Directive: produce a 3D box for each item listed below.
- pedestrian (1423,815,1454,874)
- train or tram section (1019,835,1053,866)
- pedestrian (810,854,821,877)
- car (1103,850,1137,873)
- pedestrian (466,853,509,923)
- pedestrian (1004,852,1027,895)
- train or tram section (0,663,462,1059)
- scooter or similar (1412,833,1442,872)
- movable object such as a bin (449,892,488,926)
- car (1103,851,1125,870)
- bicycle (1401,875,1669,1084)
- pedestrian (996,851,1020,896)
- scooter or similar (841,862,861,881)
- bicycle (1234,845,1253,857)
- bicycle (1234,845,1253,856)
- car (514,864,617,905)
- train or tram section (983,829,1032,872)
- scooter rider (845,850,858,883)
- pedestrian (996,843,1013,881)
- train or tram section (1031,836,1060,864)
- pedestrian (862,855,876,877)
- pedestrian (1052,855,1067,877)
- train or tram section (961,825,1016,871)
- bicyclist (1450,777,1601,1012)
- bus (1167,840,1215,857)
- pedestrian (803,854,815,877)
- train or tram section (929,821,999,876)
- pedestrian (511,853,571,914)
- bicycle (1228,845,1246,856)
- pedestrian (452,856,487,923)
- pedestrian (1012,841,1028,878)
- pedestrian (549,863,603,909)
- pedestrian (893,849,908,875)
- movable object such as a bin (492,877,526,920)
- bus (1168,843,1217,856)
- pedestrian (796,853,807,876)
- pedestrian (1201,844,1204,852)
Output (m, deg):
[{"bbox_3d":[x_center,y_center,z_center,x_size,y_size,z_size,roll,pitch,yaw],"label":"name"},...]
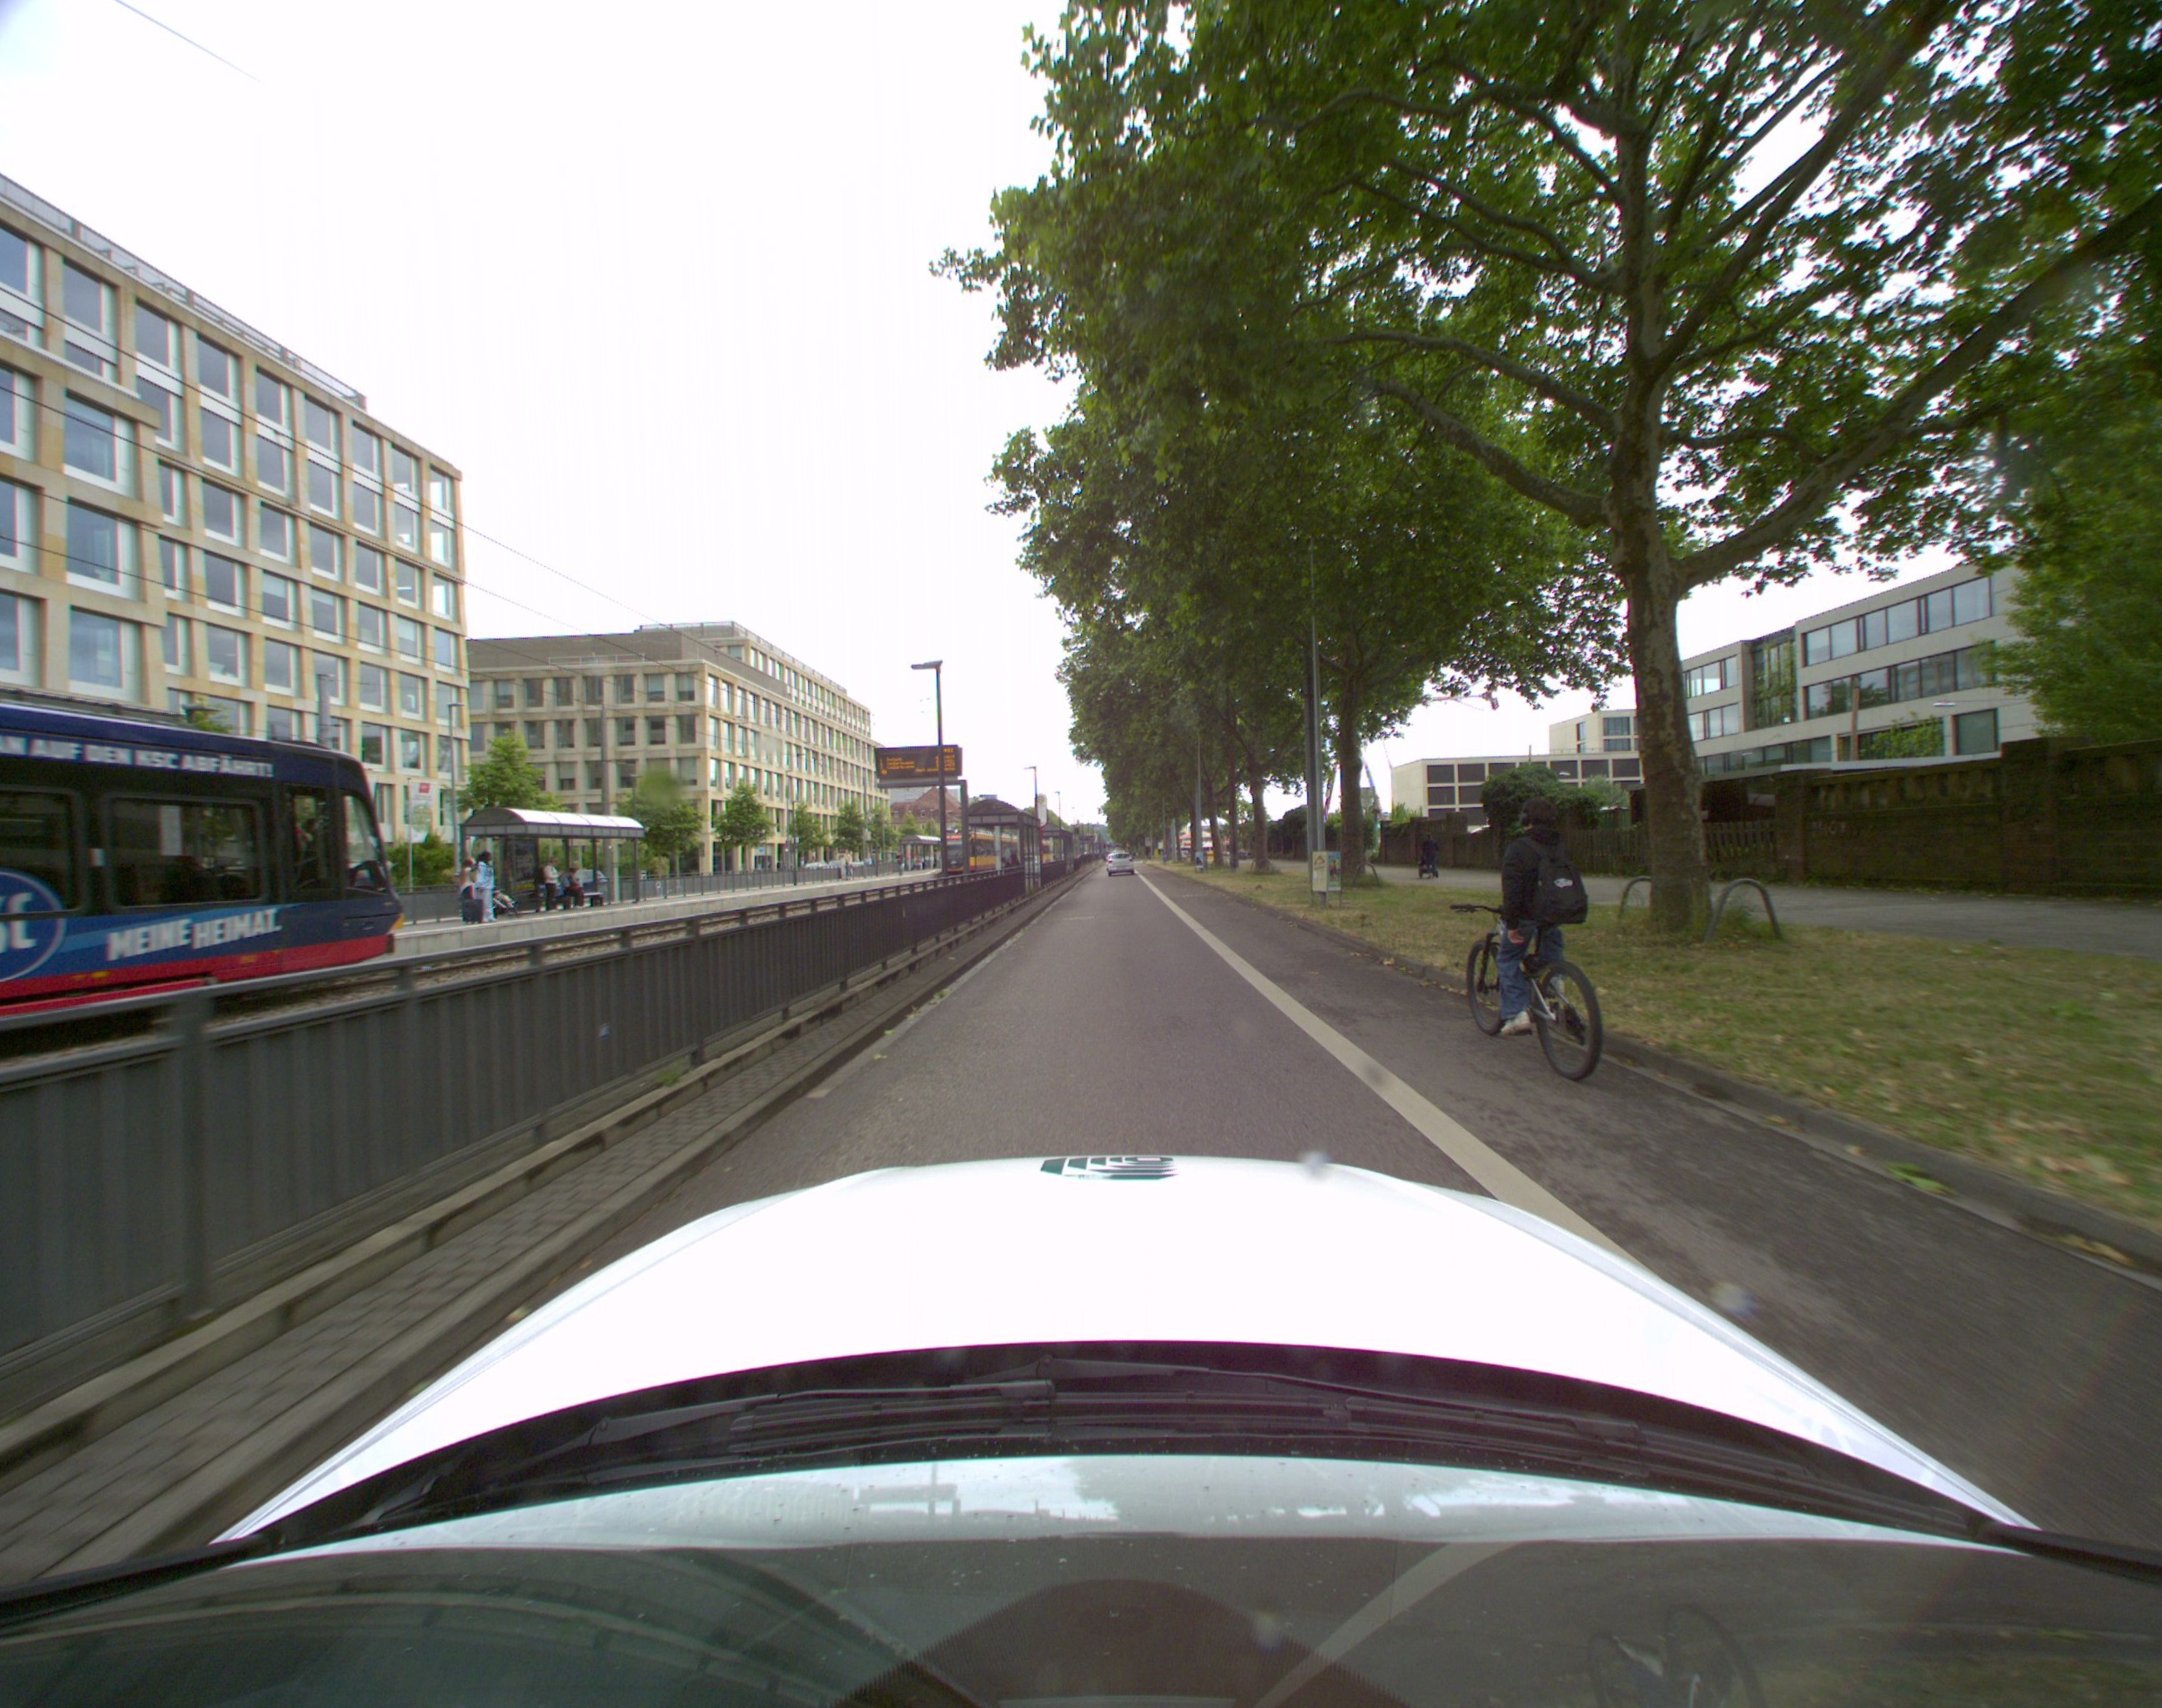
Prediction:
[{"bbox_3d":[12.447,-0.313,28.369,0.581,2.014,0.924,-2,-1,2],"label":"pedestrian"},{"bbox_3d":[-6.366,-0.429,117.679,3.167,4.179,14.745,-2,0,3],"label":"train or tram section"},{"bbox_3d":[-23.936,1.011,73.443,0.710,2.014,0.725,-2,-1,1],"label":"pedestrian"},{"bbox_3d":[2.672,0.492,54.944,1.875,1.453,4.009,-2,0,8],"label":"car"},{"bbox_3d":[-14.087,0.798,19.345,0.532,1.607,0.567,-2,-1,9],"label":"pedestrian"},{"bbox_3d":[-2.133,0.632,26.475,0.608,1.372,0.600,-2,-1,3],"label":"pedestrian"},{"bbox_3d":[-11.533,0.097,6.213,2.844,3.692,13.525,-2,0,2],"label":"train or tram section"},{"bbox_3d":[12.489,-0.035,29.426,0.574,1.354,1.156,-2,-1,2],"label":"scooter or similar"},{"bbox_3d":[-14.148,1.261,18.820,0.532,0.747,0.470,-2,-1,9],"label":"movable object such as a bin"},{"bbox_3d":[2.984,0.522,72.725,1.832,1.552,4.004,-3,0,4],"label":"car"},{"bbox_3d":[3.098,0.764,5.896,0.650,1.150,2.283,-2,-1,1],"label":"bicycle"},{"bbox_3d":[-2.243,0.593,25.191,0.608,1.341,0.600,-2,-1,3],"label":"pedestrian"},{"bbox_3d":[-14.162,1.069,50.176,0.521,1.114,2.228,-2,-1,2],"label":"scooter or similar"},{"bbox_3d":[17.241,-0.337,86.553,1.883,1.104,0.550,-4,-1,0],"label":"bicycle"},{"bbox_3d":[17.409,-0.354,87.133,1.894,1.097,0.550,-4,-1,0],"label":"bicycle"},{"bbox_3d":[-23.729,1.368,37.682,1.984,1.662,4.005,-2,0,4],"label":"car"},{"bbox_3d":[-7.813,-0.322,88.766,3.167,4.179,13.630,-2,0,3],"label":"train or tram section"},{"bbox_3d":[-14.173,0.747,50.242,0.514,2.009,0.682,-2,-1,2],"label":"scooter rider"},{"bbox_3d":[-3.697,0.396,39.399,0.670,1.793,1.109,-2,-1,-11],"label":"pedestrian"},{"bbox_3d":[-5.619,-0.575,132.426,3.167,4.179,14.745,-2,0,3],"label":"train or tram section"},{"bbox_3d":[-19.775,1.077,75.831,0.929,2.014,1.032,-2,-1,1],"label":"pedestrian"},{"bbox_3d":[-1.297,0.701,48.750,0.832,1.303,0.613,-2,-1,1],"label":"pedestrian"},{"bbox_3d":[-8.429,-0.507,76.232,3.150,3.862,11.319,-2,0,3],"label":"train or tram section"},{"bbox_3d":[3.093,0.267,5.721,0.638,1.531,0.664,-2,-1,0],"label":"bicyclist"},{"bbox_3d":[22.131,-1.079,164.106,9.247,2.960,2.000,-2,-1,0],"label":"bus"},{"bbox_3d":[-23.966,0.999,71.686,0.710,2.014,0.725,-2,-1,1],"label":"pedestrian"},{"bbox_3d":[-9.059,-0.363,64.894,3.224,3.862,11.319,-2,0,3],"label":"train or tram section"},{"bbox_3d":[-15.583,0.837,23.507,1.033,1.686,0.940,-2,-1,5],"label":"pedestrian"},{"bbox_3d":[17.564,-0.351,91.713,1.915,1.091,0.550,-4,-1,0],"label":"bicycle"},{"bbox_3d":[-15.283,0.881,20.357,0.581,1.607,0.650,-2,-1,-31],"label":"pedestrian"},{"bbox_3d":[-3.032,0.271,40.304,0.669,1.793,1.111,-2,-1,-6],"label":"pedestrian"},{"bbox_3d":[-15.739,0.976,25.421,1.033,1.372,0.940,-2,-1,5],"label":"pedestrian"},{"bbox_3d":[-12.740,0.551,57.429,0.709,1.795,1.161,-2,-1,1],"label":"pedestrian"},{"bbox_3d":[-14.557,1.122,20.744,0.623,1.021,0.715,-2,-1,-31],"label":"movable object such as a bin"},{"bbox_3d":[21.995,-0.860,160.859,9.247,2.227,2.000,-2,-1,0],"label":"bus"},{"bbox_3d":[-24.877,0.934,72.485,0.710,2.014,0.725,-2,-1,2],"label":"pedestrian"},{"bbox_3d":[23.071,-1.119,154.628,0.491,1.463,0.523,-2,-1,0],"label":"pedestrian"}]
